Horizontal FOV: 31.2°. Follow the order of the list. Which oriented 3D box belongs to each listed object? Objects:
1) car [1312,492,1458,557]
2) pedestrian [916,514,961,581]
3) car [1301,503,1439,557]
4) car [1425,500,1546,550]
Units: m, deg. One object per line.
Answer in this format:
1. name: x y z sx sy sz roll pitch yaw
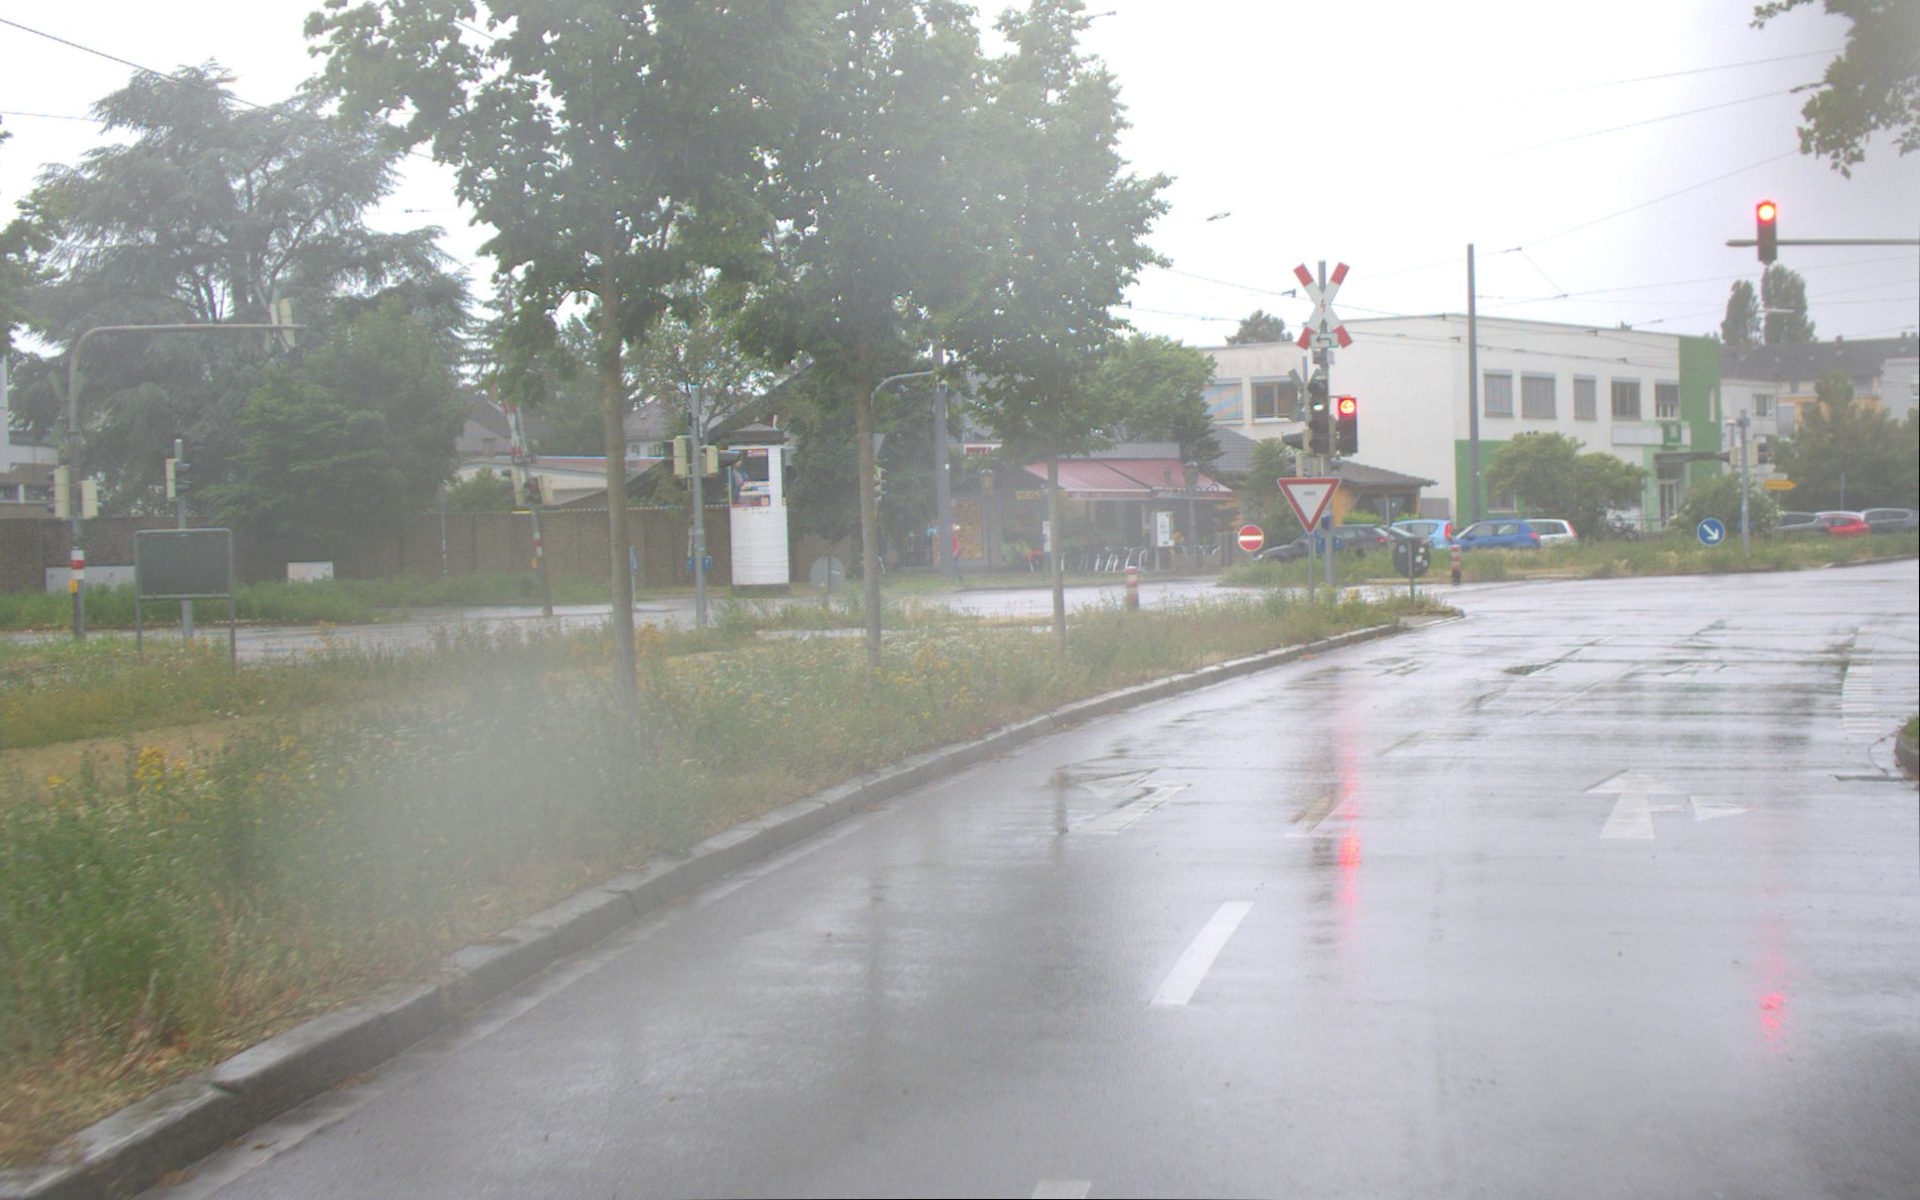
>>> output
1. car: 13.070 -2.317 105.728 4.139 1.853 1.672 -2 1 21
2. pedestrian: -0.578 -1.405 92.068 0.800 1.757 0.909 -3 1 -30
3. car: 12.217 -2.089 102.377 3.753 1.437 1.761 -2 1 18
4. car: 16.785 -2.398 109.850 3.751 1.437 1.762 -2 1 9
